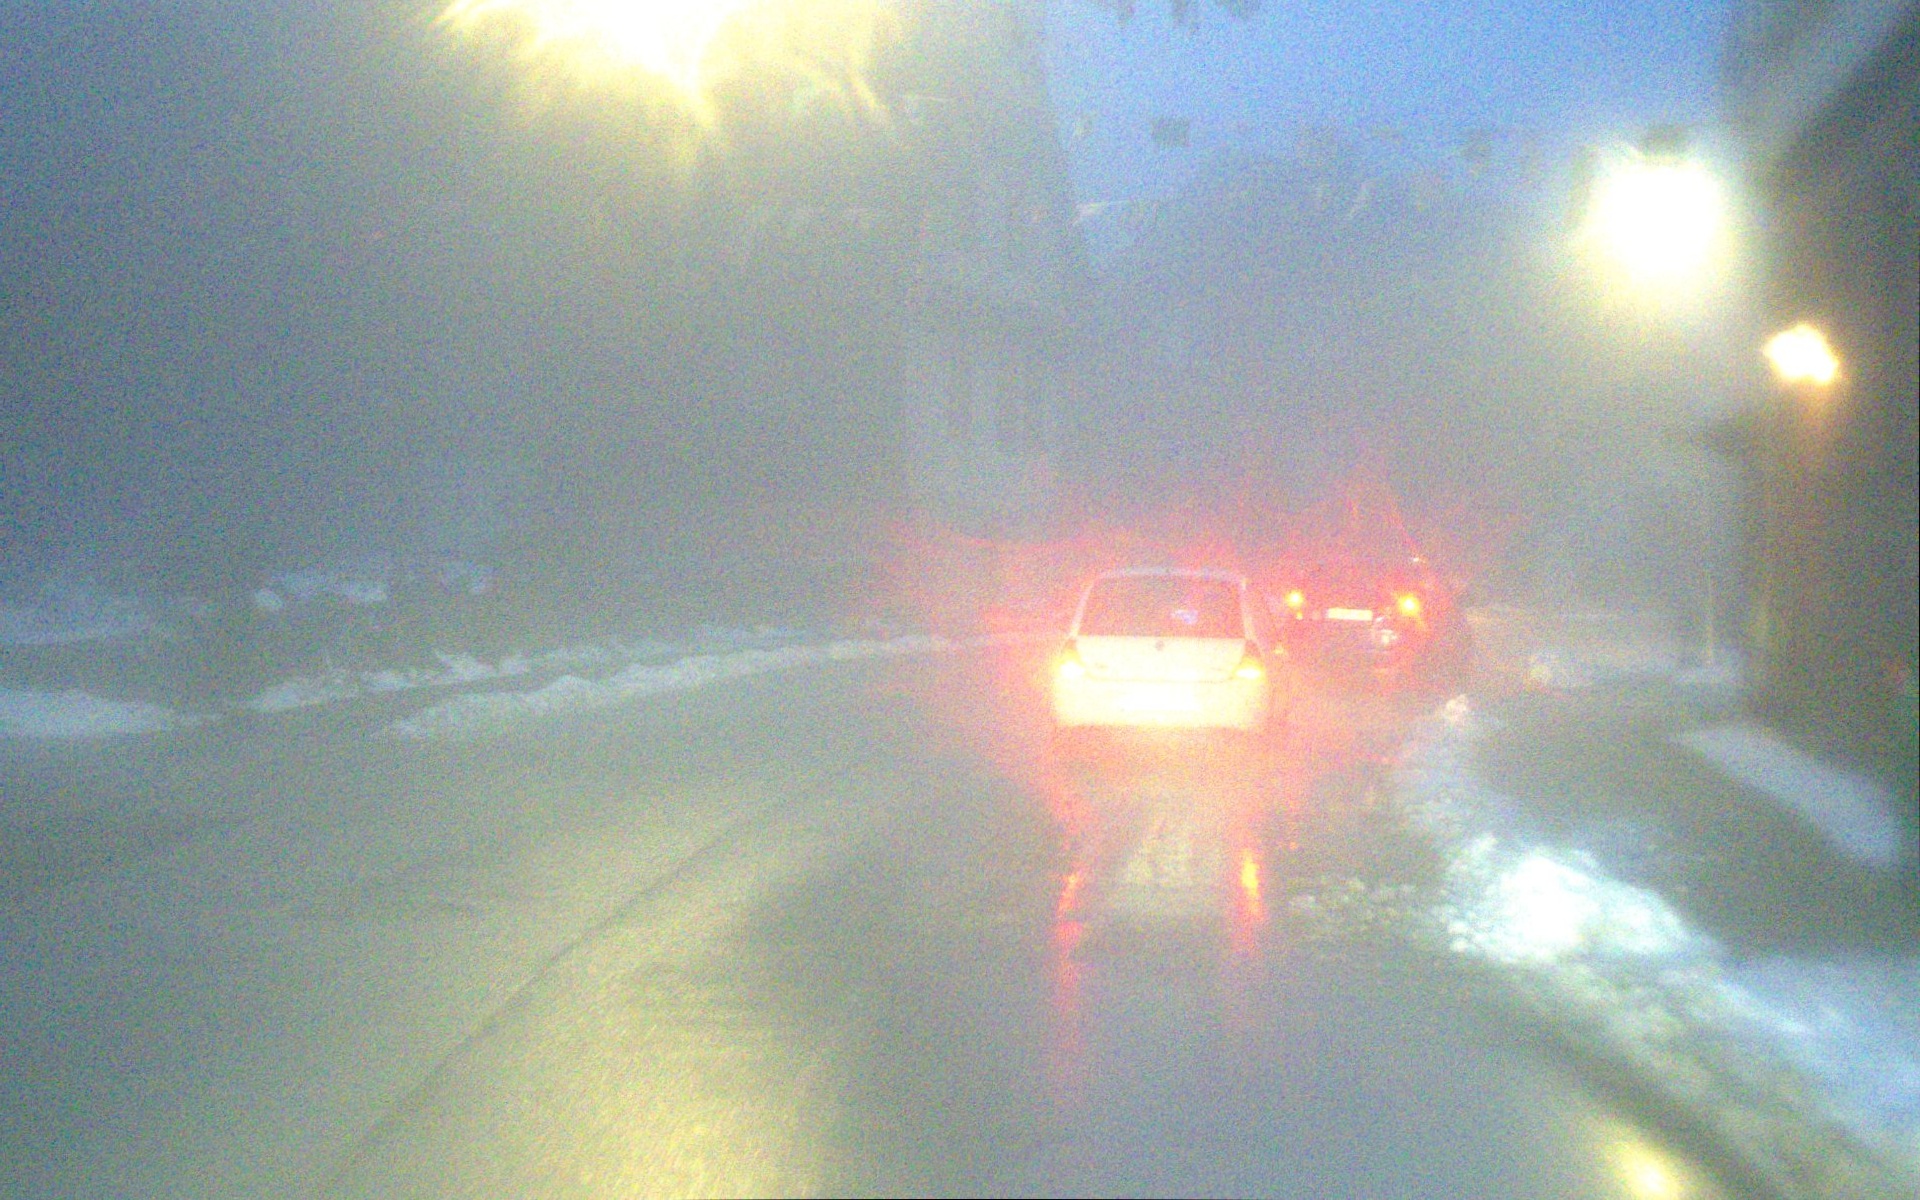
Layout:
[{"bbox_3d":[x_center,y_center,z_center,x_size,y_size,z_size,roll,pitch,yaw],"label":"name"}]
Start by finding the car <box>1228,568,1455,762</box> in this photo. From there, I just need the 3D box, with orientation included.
[{"bbox_3d":[4.482,0.795,39.875,1.995,2.007,3.997,4,-2,14],"label":"car"}]

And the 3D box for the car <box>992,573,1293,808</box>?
[{"bbox_3d":[1.439,0.693,25.983,1.994,1.503,3.999,4,-2,5],"label":"car"}]
